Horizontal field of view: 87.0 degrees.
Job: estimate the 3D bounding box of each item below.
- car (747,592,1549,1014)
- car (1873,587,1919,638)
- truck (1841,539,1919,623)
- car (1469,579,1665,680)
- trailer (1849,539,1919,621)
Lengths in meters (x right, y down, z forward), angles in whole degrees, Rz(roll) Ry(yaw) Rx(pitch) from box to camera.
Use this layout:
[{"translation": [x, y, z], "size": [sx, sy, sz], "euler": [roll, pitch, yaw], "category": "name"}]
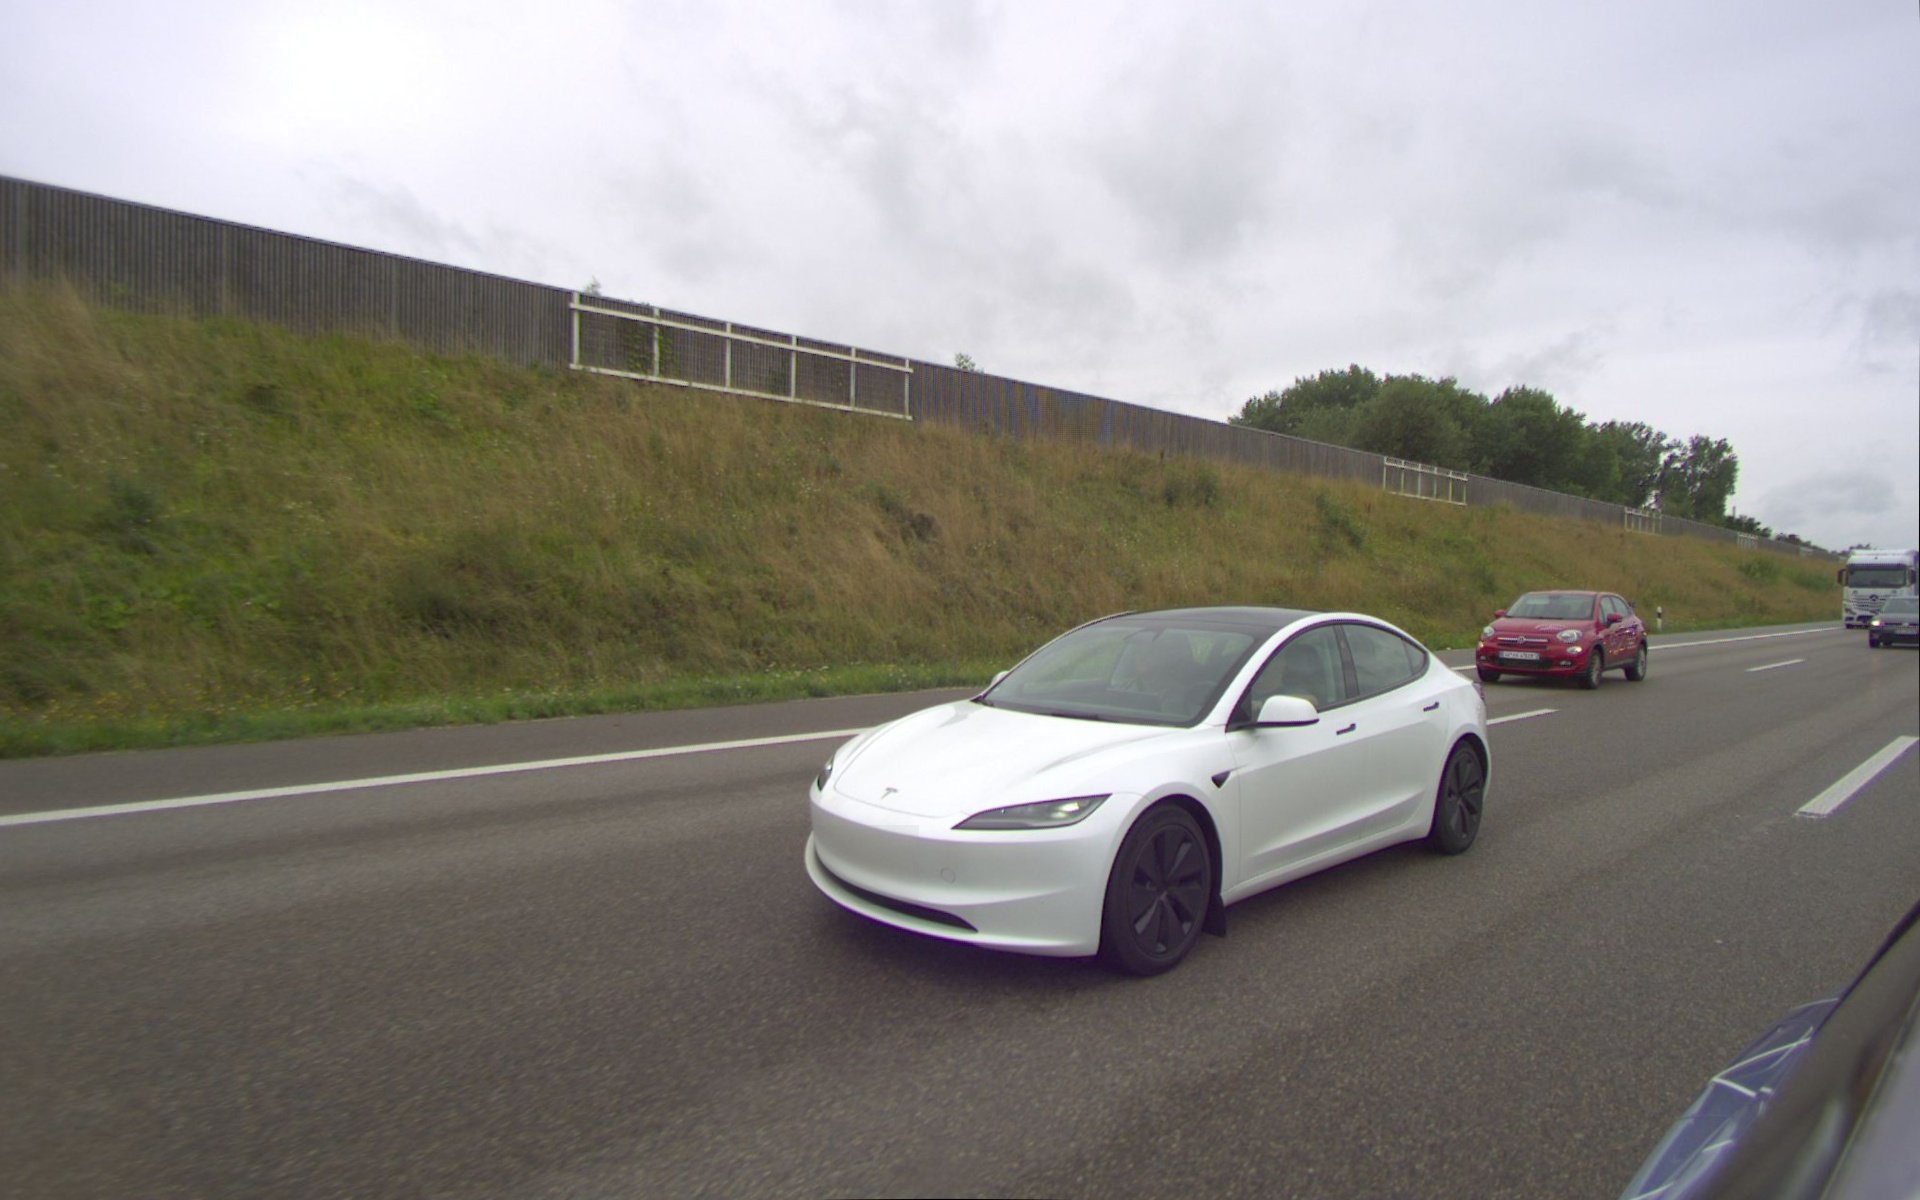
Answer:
[{"translation": [1.378, 0.659, 5.646], "size": [4.729, 1.380, 1.877], "euler": [-1, 1, -41], "category": "car"}, {"translation": [30.311, 0.363, 31.781], "size": [4.407, 1.507, 1.927], "euler": [-1, 1, -41], "category": "car"}, {"translation": [47.732, -0.956, 51.872], "size": [6.837, 4.077, 3.086], "euler": [-1, 0, -42], "category": "truck"}, {"translation": [10.650, 0.431, 17.659], "size": [3.931, 1.554, 1.876], "euler": [-1, 1, -42], "category": "car"}, {"translation": [52.757, -1.077, 56.415], "size": [14.961, 4.077, 3.086], "euler": [-1, 1, -42], "category": "trailer"}]
